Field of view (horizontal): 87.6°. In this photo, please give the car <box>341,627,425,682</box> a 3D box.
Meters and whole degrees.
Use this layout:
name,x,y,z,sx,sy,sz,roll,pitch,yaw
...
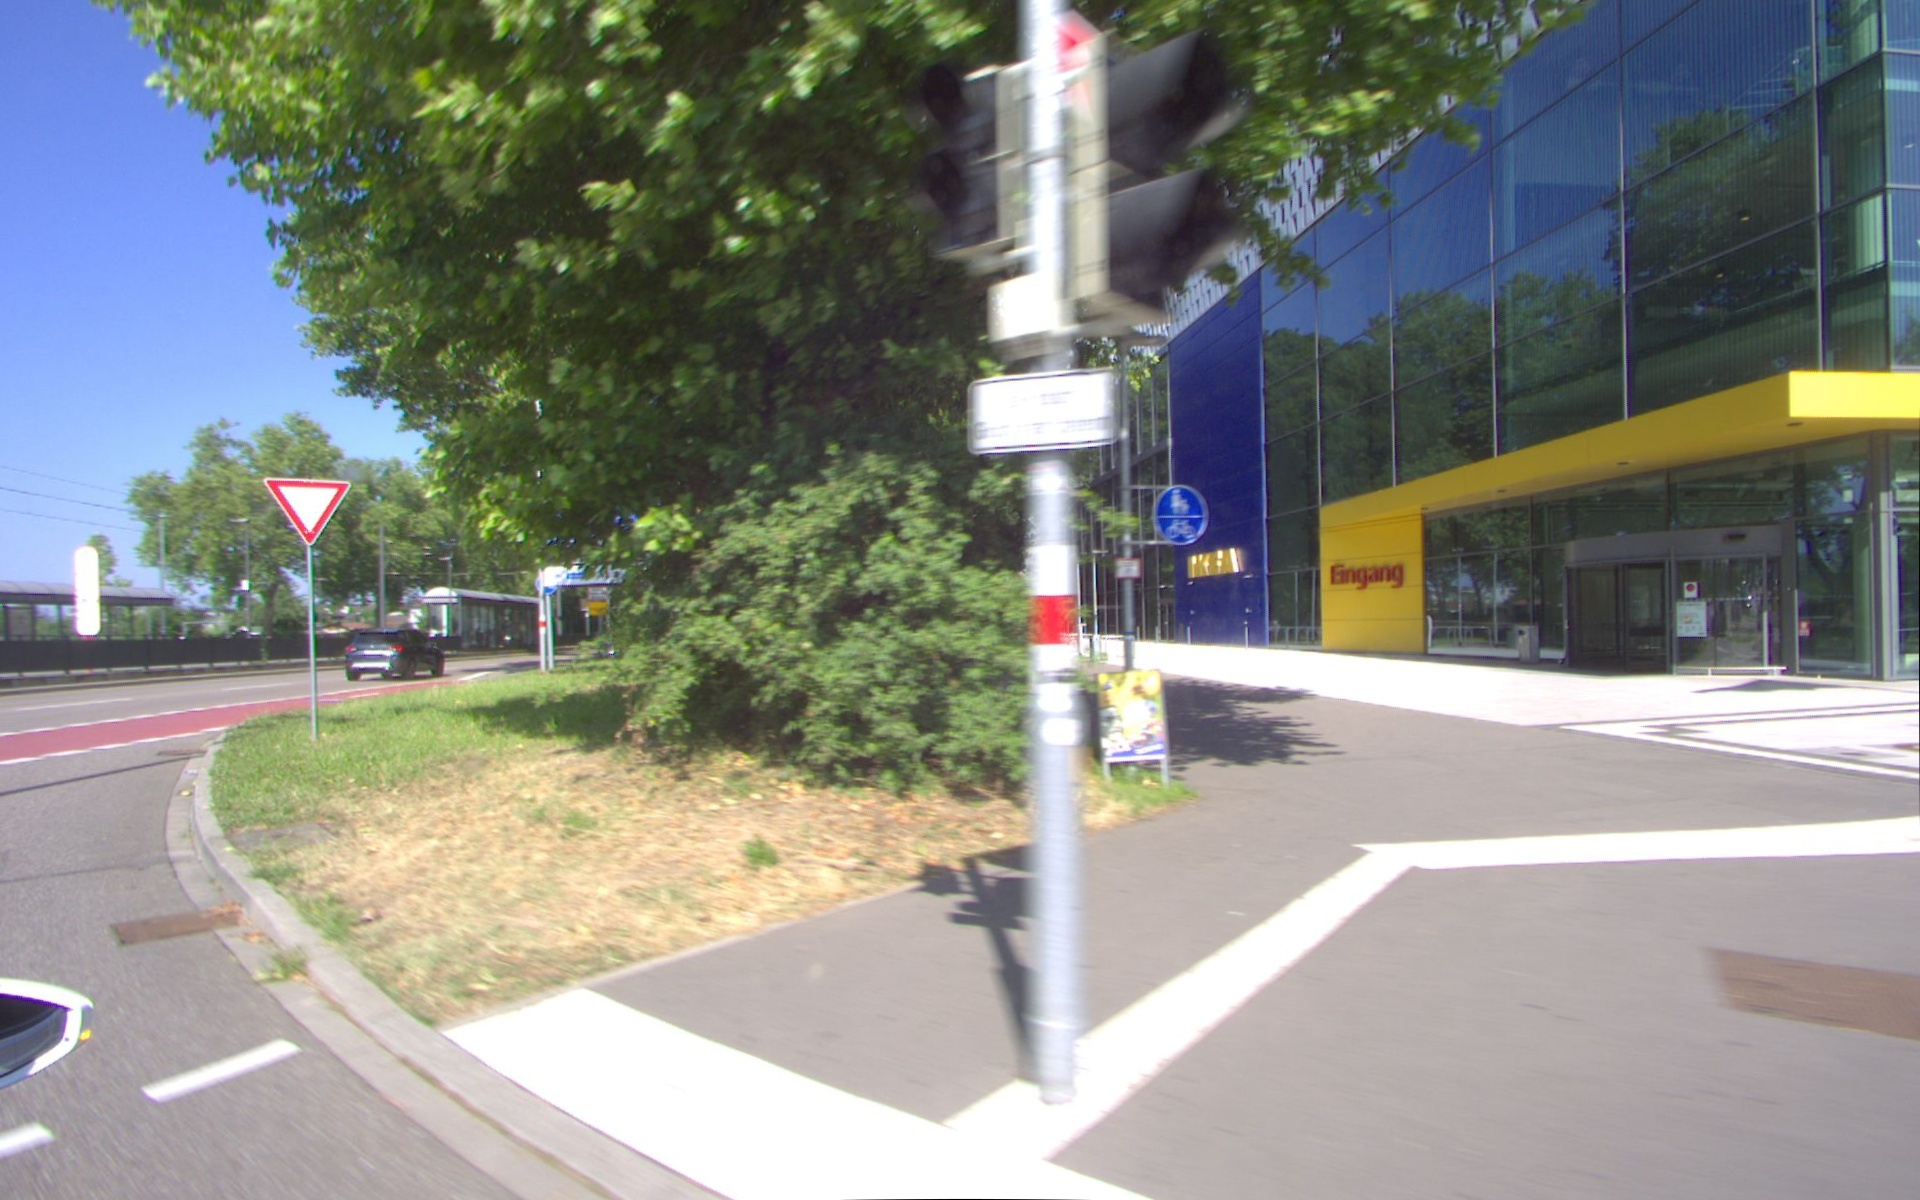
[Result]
name,x,y,z,sx,sy,sz,roll,pitch,yaw
car,-17.340,1.628,30.230,1.647,1.542,3.370,0,-3,-20
